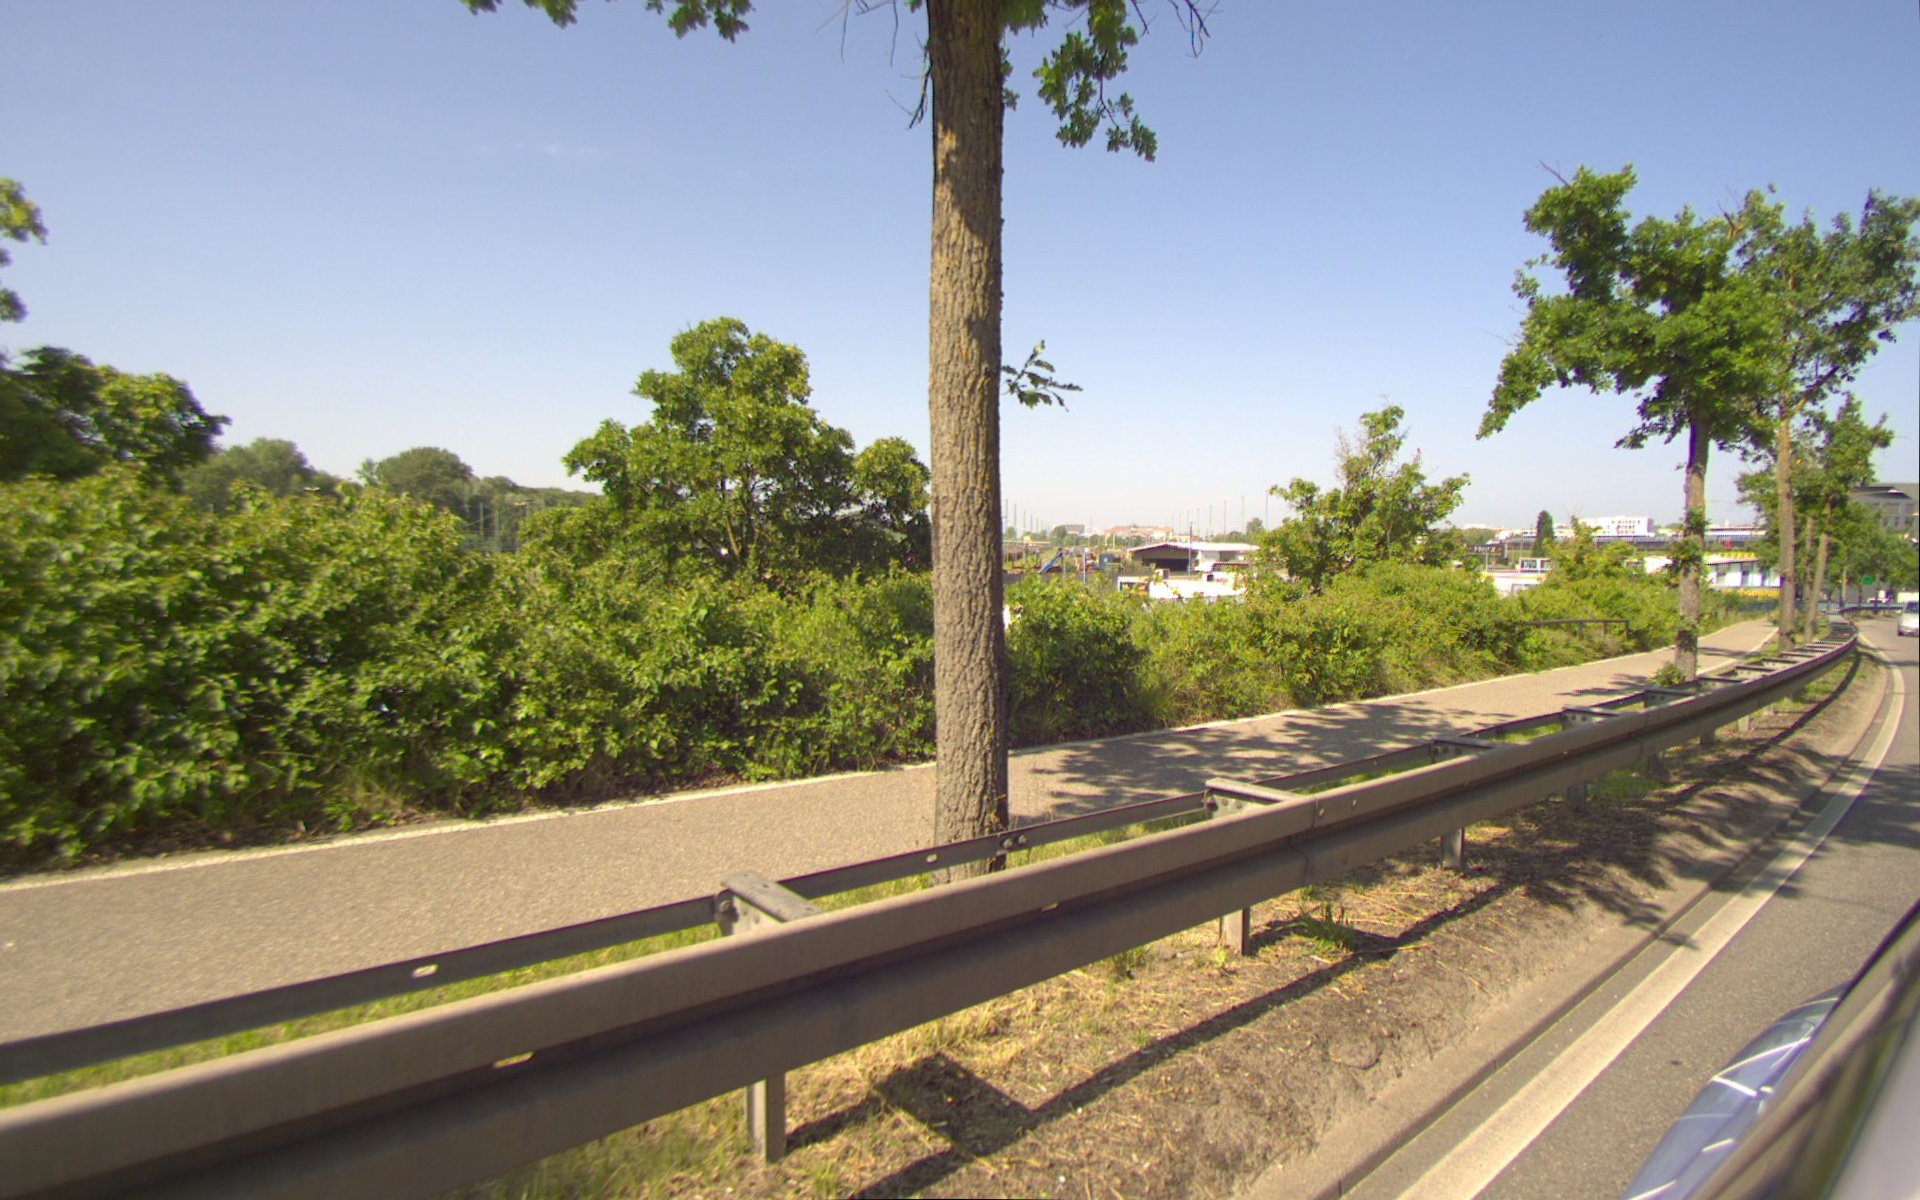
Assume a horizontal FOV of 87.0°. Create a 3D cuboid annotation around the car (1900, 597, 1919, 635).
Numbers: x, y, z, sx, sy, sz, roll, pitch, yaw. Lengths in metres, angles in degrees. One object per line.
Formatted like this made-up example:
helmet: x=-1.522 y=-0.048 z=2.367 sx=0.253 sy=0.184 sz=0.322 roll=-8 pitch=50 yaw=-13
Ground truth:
car: x=43.082 y=0.706 z=44.882 sx=1.993 sy=1.605 sz=3.939 roll=1 pitch=1 yaw=42
